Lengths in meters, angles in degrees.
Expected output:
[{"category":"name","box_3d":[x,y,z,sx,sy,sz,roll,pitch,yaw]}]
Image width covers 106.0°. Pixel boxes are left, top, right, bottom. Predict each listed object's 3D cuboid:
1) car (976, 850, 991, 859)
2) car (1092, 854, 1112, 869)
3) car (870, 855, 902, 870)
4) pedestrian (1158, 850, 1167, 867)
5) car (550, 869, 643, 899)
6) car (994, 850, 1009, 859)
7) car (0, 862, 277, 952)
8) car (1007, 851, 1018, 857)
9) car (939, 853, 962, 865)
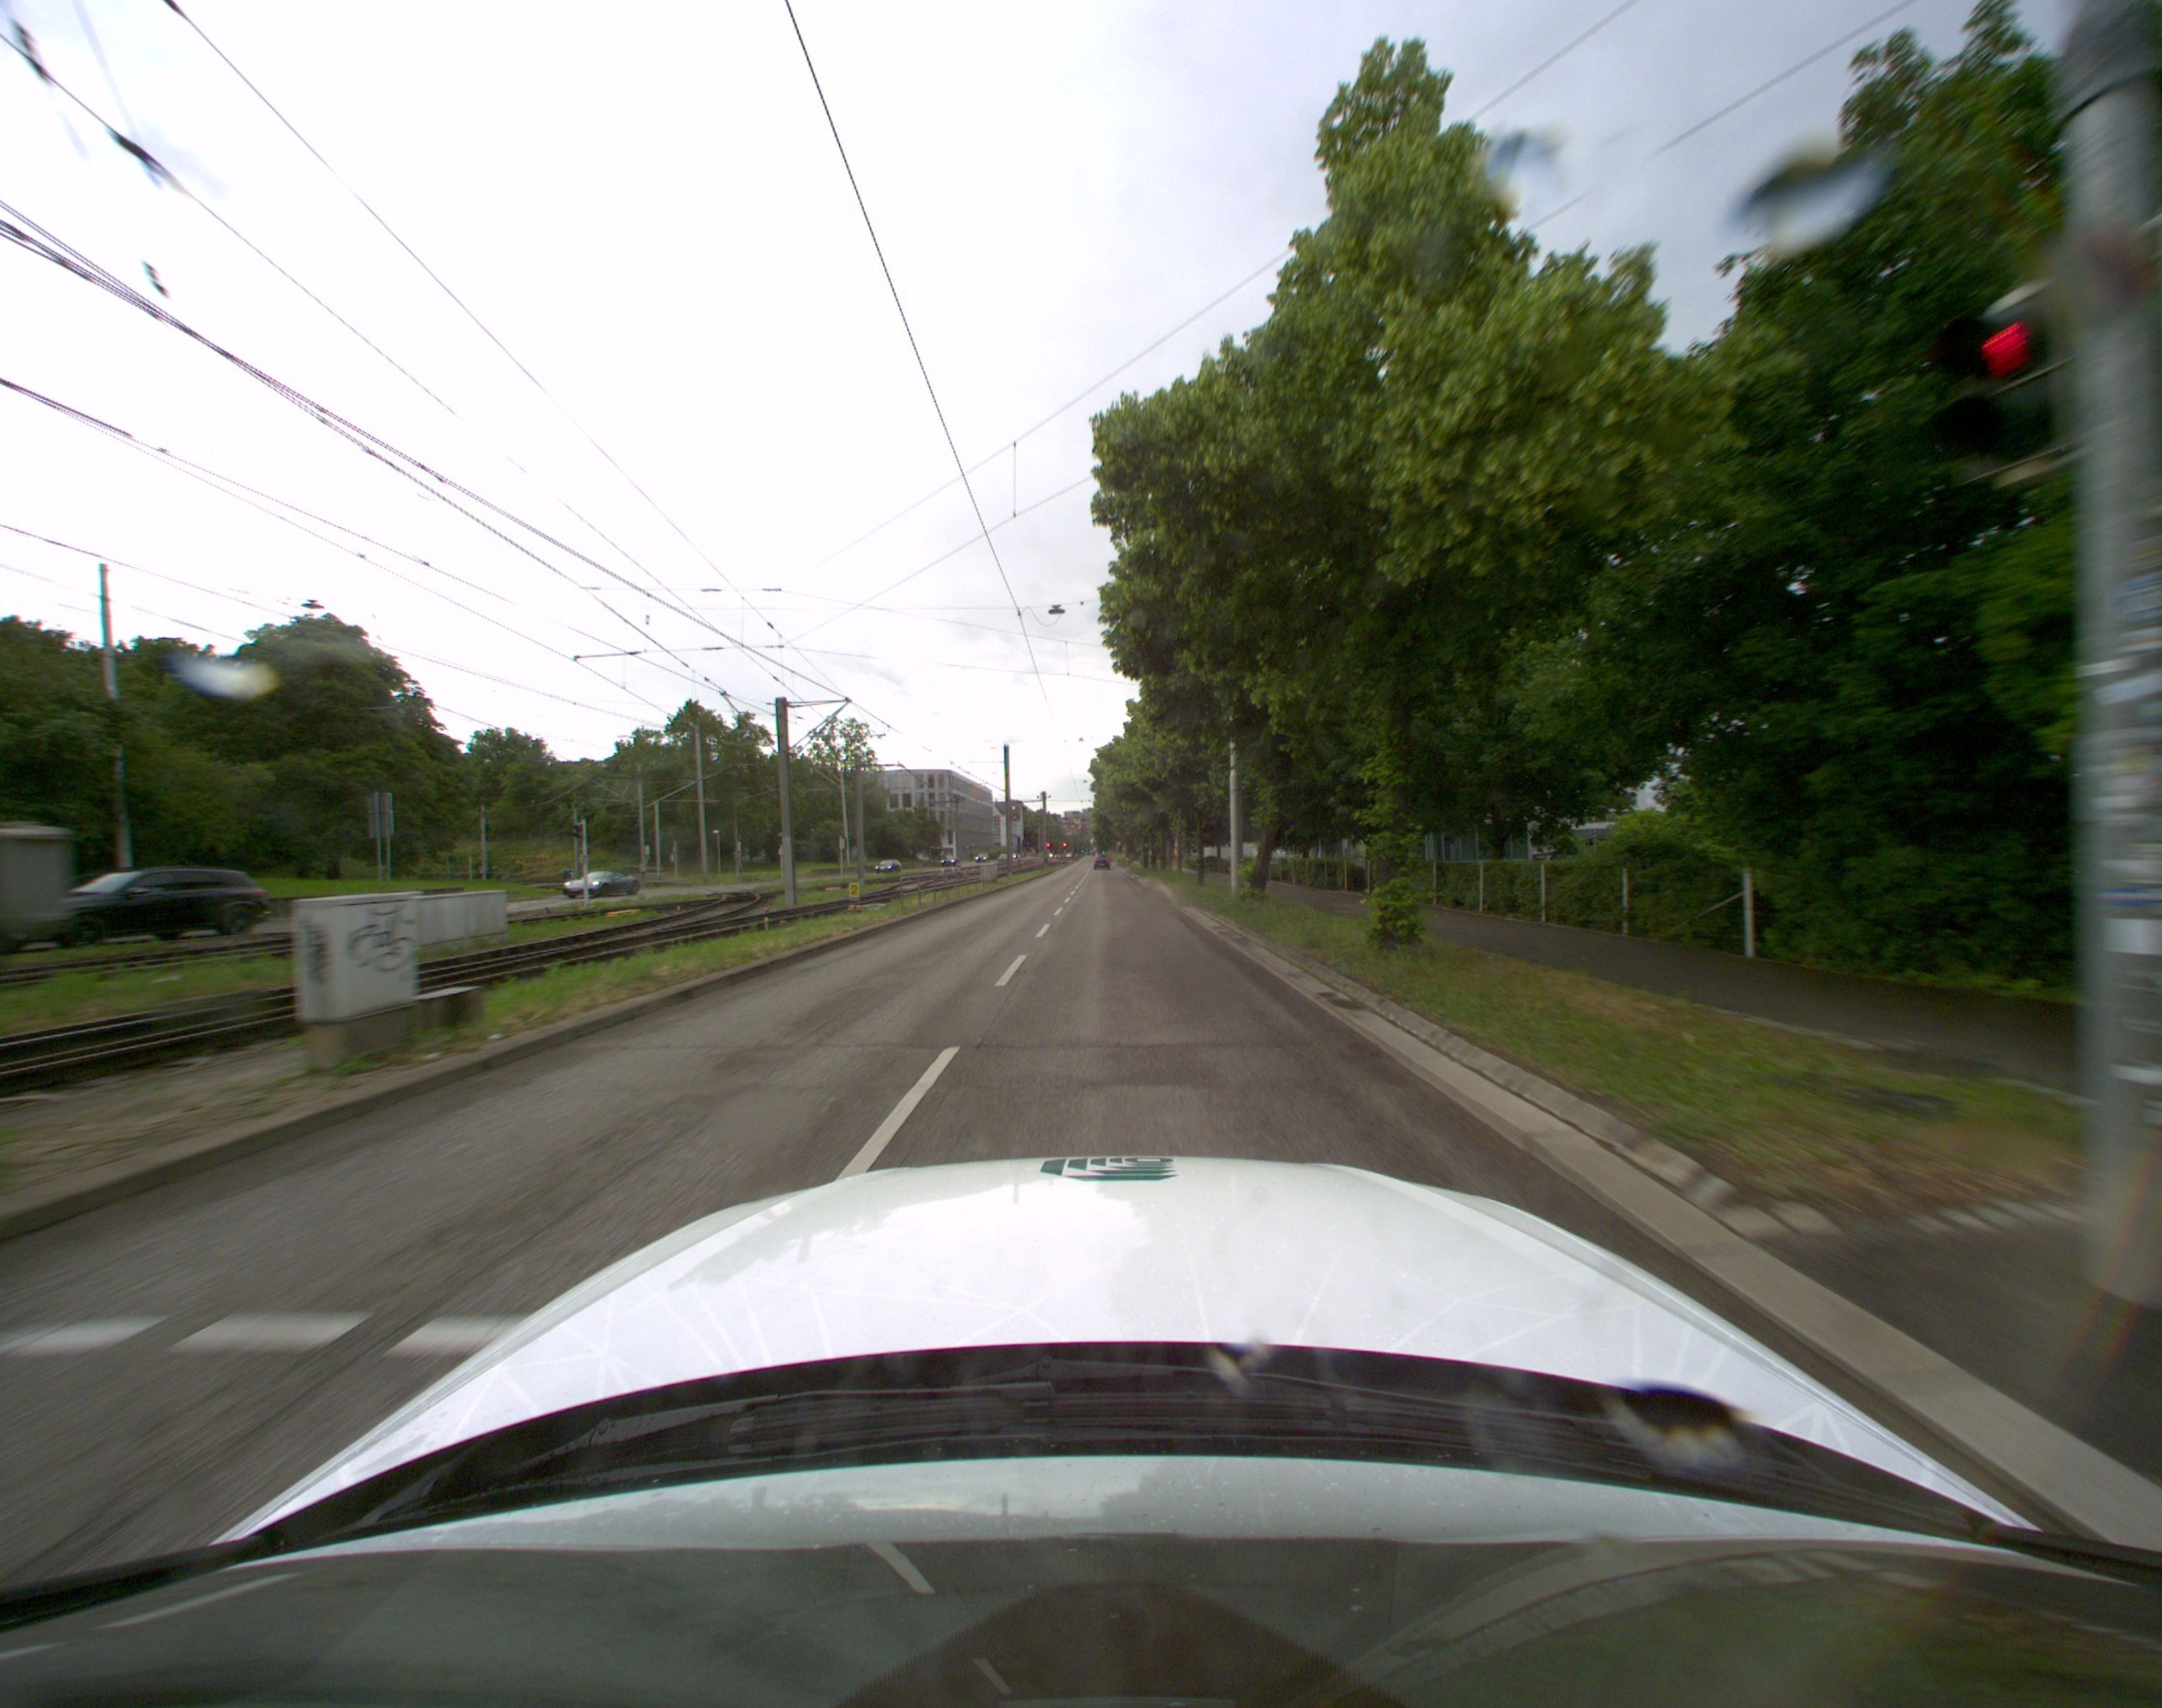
[{"category":"car","box_3d":[-17.280,0.086,144.294,1.940,1.595,4.850,-2,0,2]},{"category":"car","box_3d":[2.237,0.768,85.277,1.975,1.440,4.475,-2,0,1]},{"category":"car","box_3d":[-21.431,0.942,89.633,1.917,1.446,4.691,-2,0,6]},{"category":"pedestrian","box_3d":[8.465,0.446,84.844,0.823,1.797,0.868,0,0,2]},{"category":"car","box_3d":[-24.373,1.492,41.202,1.920,1.261,4.474,-2,0,1]},{"category":"car","box_3d":[-14.672,0.051,150.551,1.882,1.486,4.313,-2,0,4]},{"category":"car","box_3d":[-22.333,1.133,19.072,2.076,1.739,4.863,-2,0,1]},{"category":"car","box_3d":[-15.531,0.001,184.872,1.753,1.397,3.905,-2,0,4]},{"category":"car","box_3d":[-18.884,0.736,118.260,2.080,1.589,5.164,-2,0,4]}]
